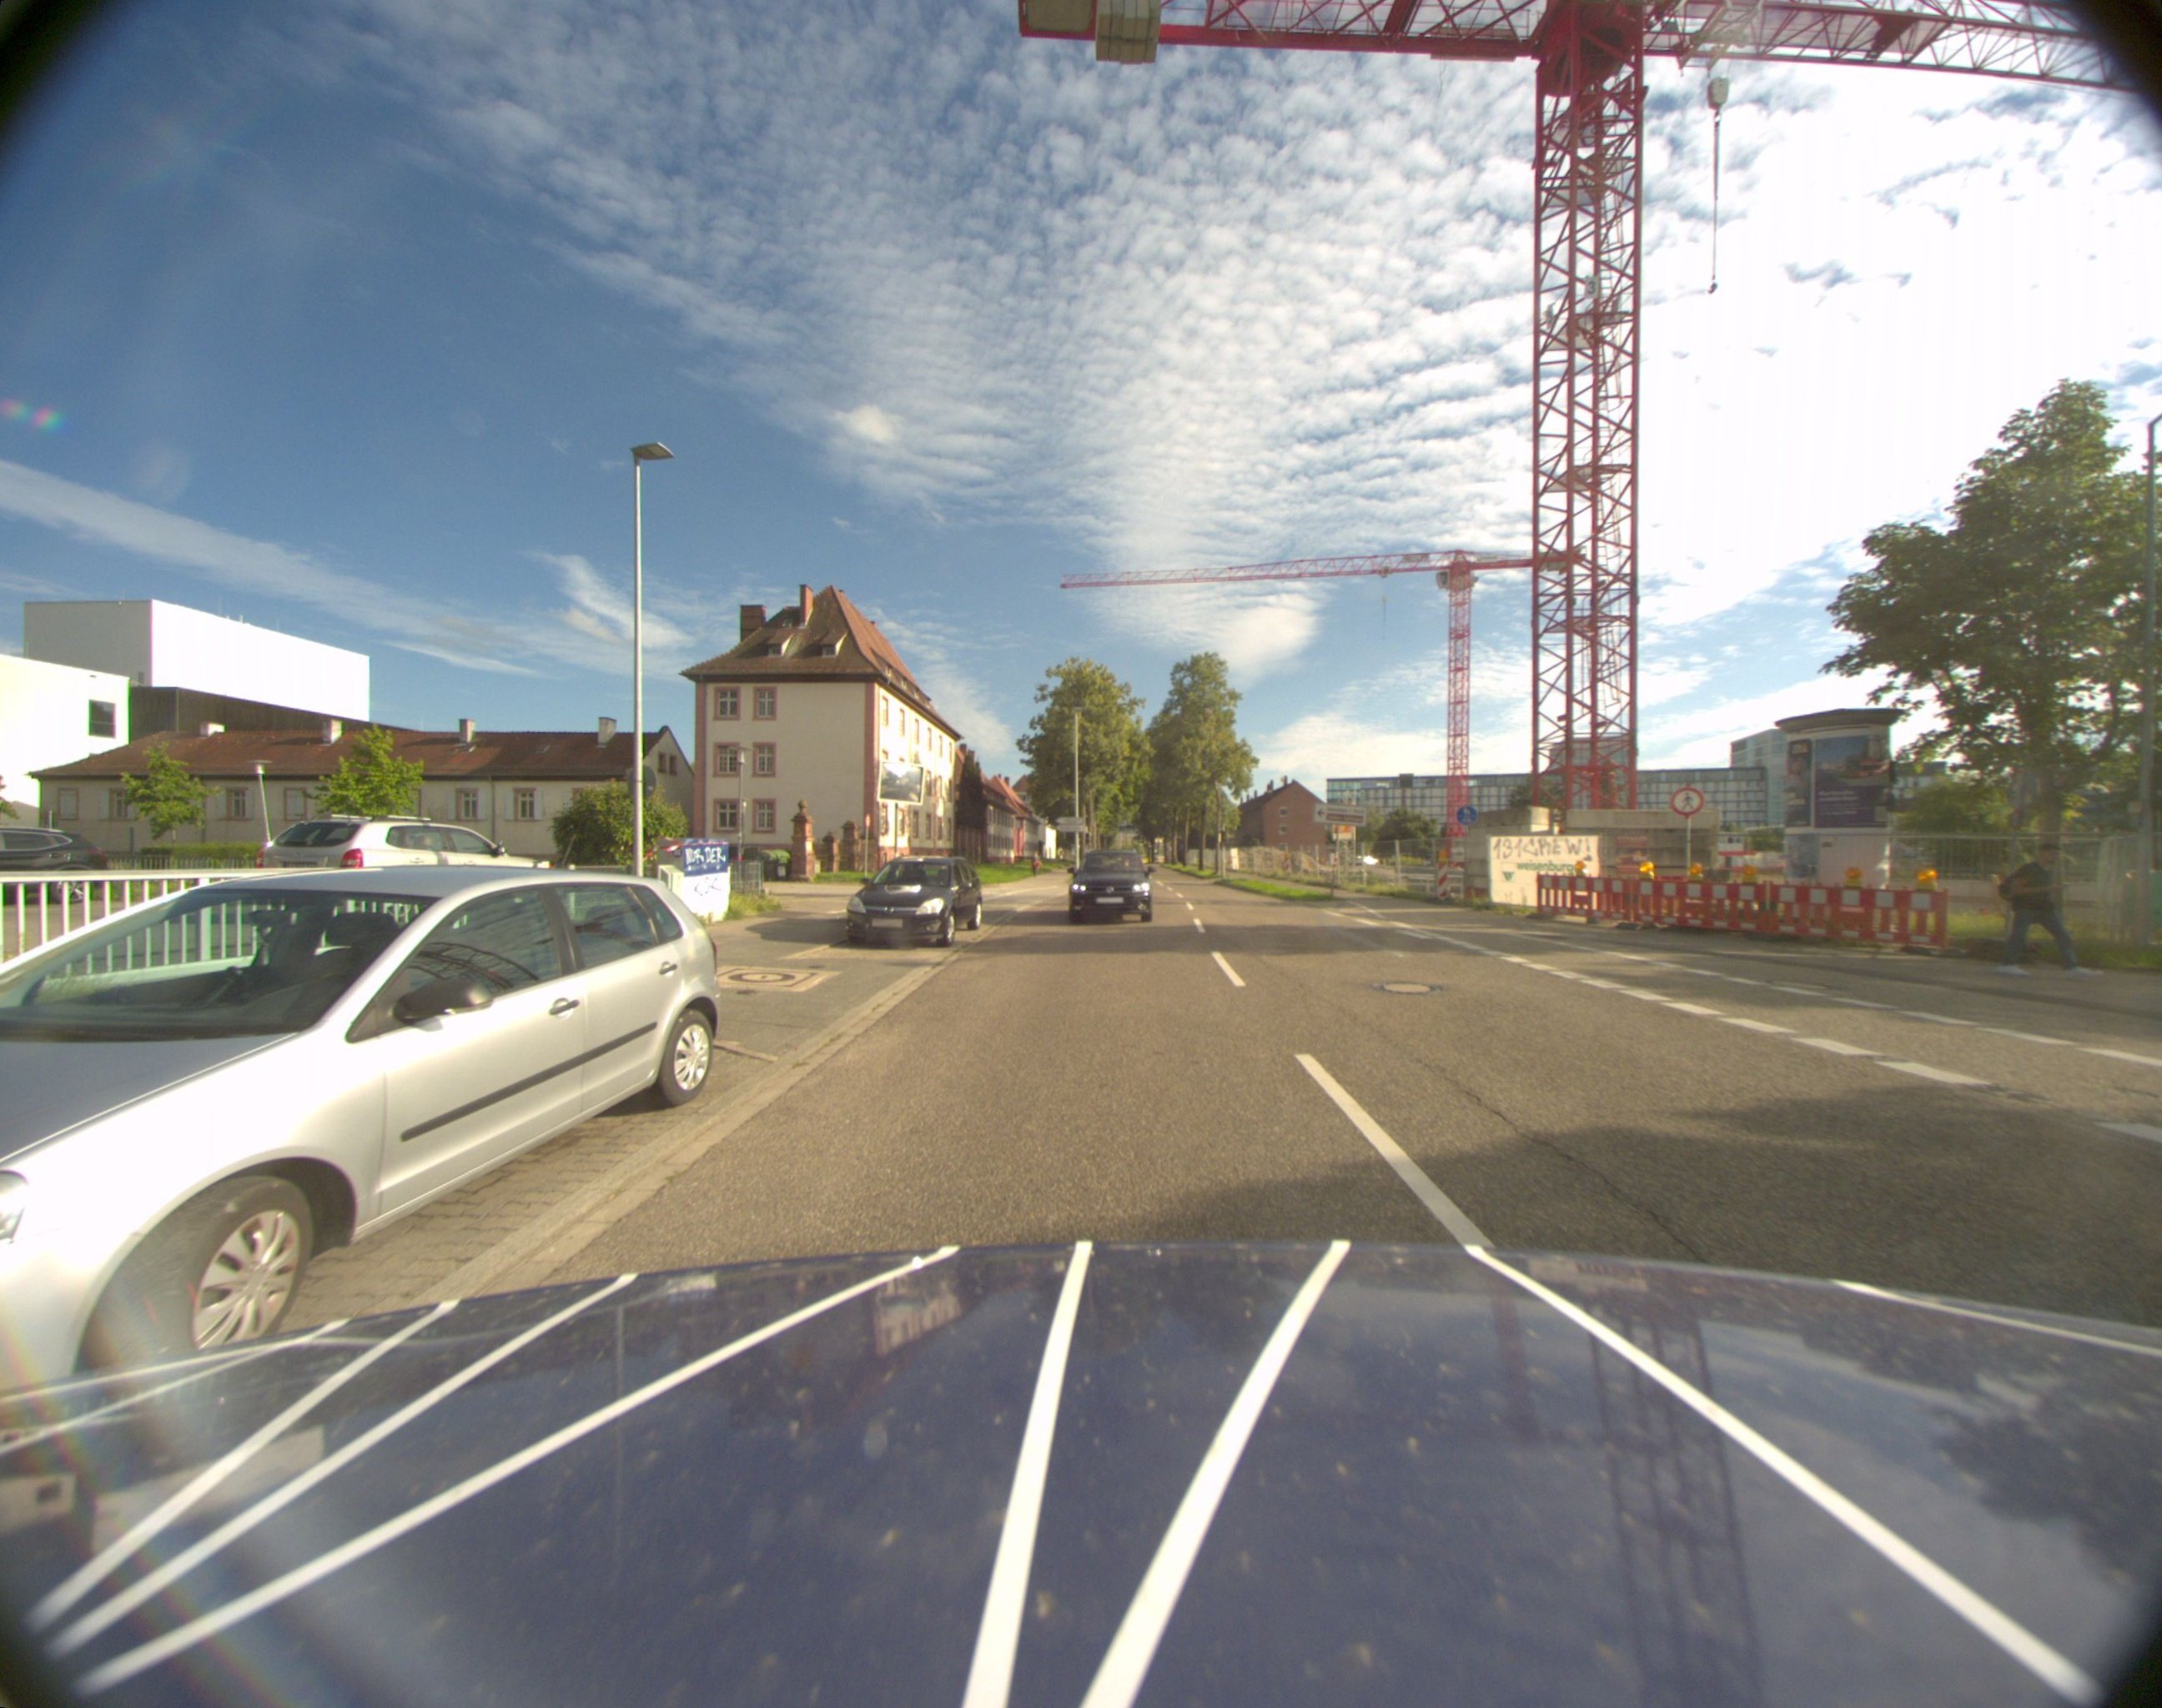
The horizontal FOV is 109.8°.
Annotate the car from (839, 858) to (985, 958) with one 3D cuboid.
[{"bbox_3d":[-2.895,0.850,13.881,1.662,1.477,4.000,2,0,1],"label":"car"}]

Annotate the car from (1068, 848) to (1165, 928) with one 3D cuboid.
[{"bbox_3d":[0.956,0.719,18.000,1.858,1.673,4.002,-1,0,9],"label":"car"}]

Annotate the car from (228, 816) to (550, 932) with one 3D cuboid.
[{"bbox_3d":[-11.809,0.285,13.438,1.888,1.709,4.091,1,0,2],"label":"car"}]

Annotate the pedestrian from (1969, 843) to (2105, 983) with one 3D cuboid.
[{"bbox_3d":[12.466,0.739,9.935,0.743,1.758,0.775,1,1,-2],"label":"pedestrian"}]

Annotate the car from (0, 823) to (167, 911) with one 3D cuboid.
[{"bbox_3d":[-22.179,0.230,14.966,2.180,1.709,4.990,1,0,4],"label":"car"}]

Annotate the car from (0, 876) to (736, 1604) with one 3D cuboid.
[{"bbox_3d":[-3.224,0.927,3.156,1.662,1.477,4.000,2,0,1],"label":"car"}]

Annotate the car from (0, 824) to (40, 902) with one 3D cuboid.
[{"bbox_3d":[-24.982,0.192,14.982,2.180,1.709,4.817,1,0,4],"label":"car"}]
